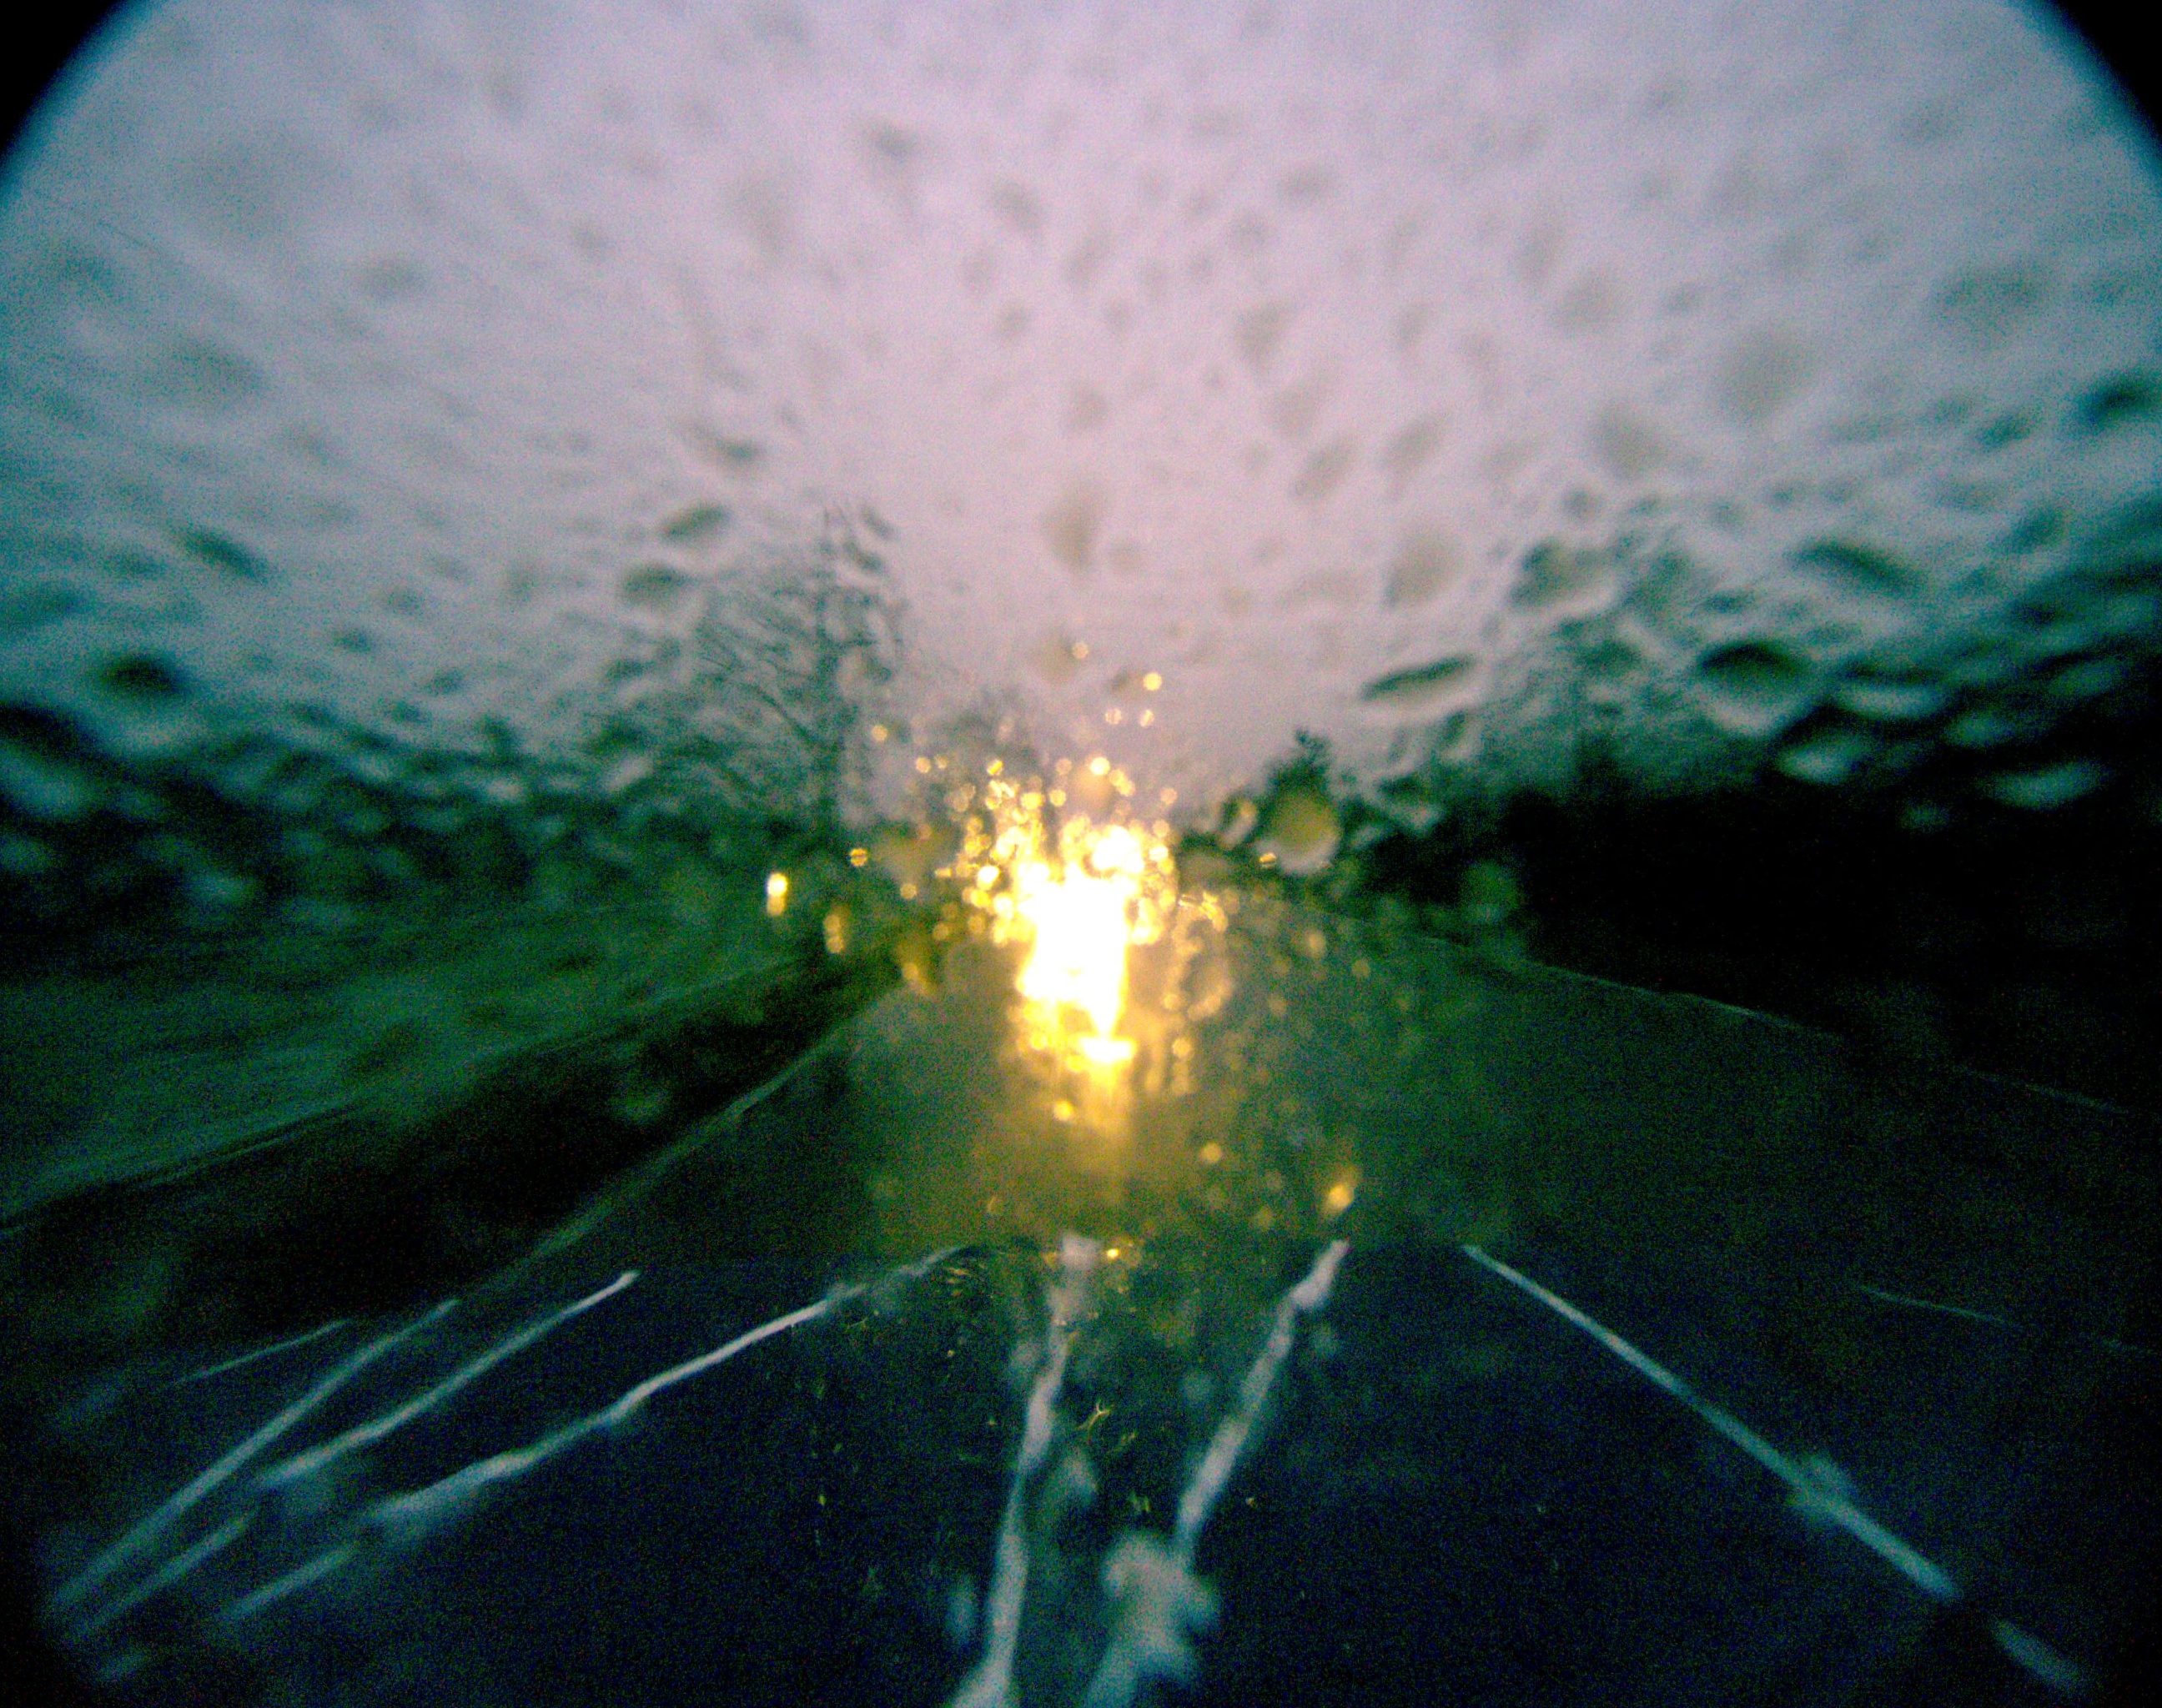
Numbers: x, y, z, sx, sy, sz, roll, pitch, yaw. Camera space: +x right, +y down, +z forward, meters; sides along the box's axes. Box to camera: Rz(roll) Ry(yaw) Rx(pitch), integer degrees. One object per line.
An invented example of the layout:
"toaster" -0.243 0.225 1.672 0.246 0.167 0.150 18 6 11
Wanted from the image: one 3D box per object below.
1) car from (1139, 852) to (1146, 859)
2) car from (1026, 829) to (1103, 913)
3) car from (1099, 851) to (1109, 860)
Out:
"car" 17.759 0.440 220.032 1.912 1.654 3.928 -2 1 2
"car" -0.375 0.438 22.790 1.953 2.195 4.535 -2 1 2
"car" 4.642 0.319 153.048 1.912 1.549 3.928 -2 1 2
